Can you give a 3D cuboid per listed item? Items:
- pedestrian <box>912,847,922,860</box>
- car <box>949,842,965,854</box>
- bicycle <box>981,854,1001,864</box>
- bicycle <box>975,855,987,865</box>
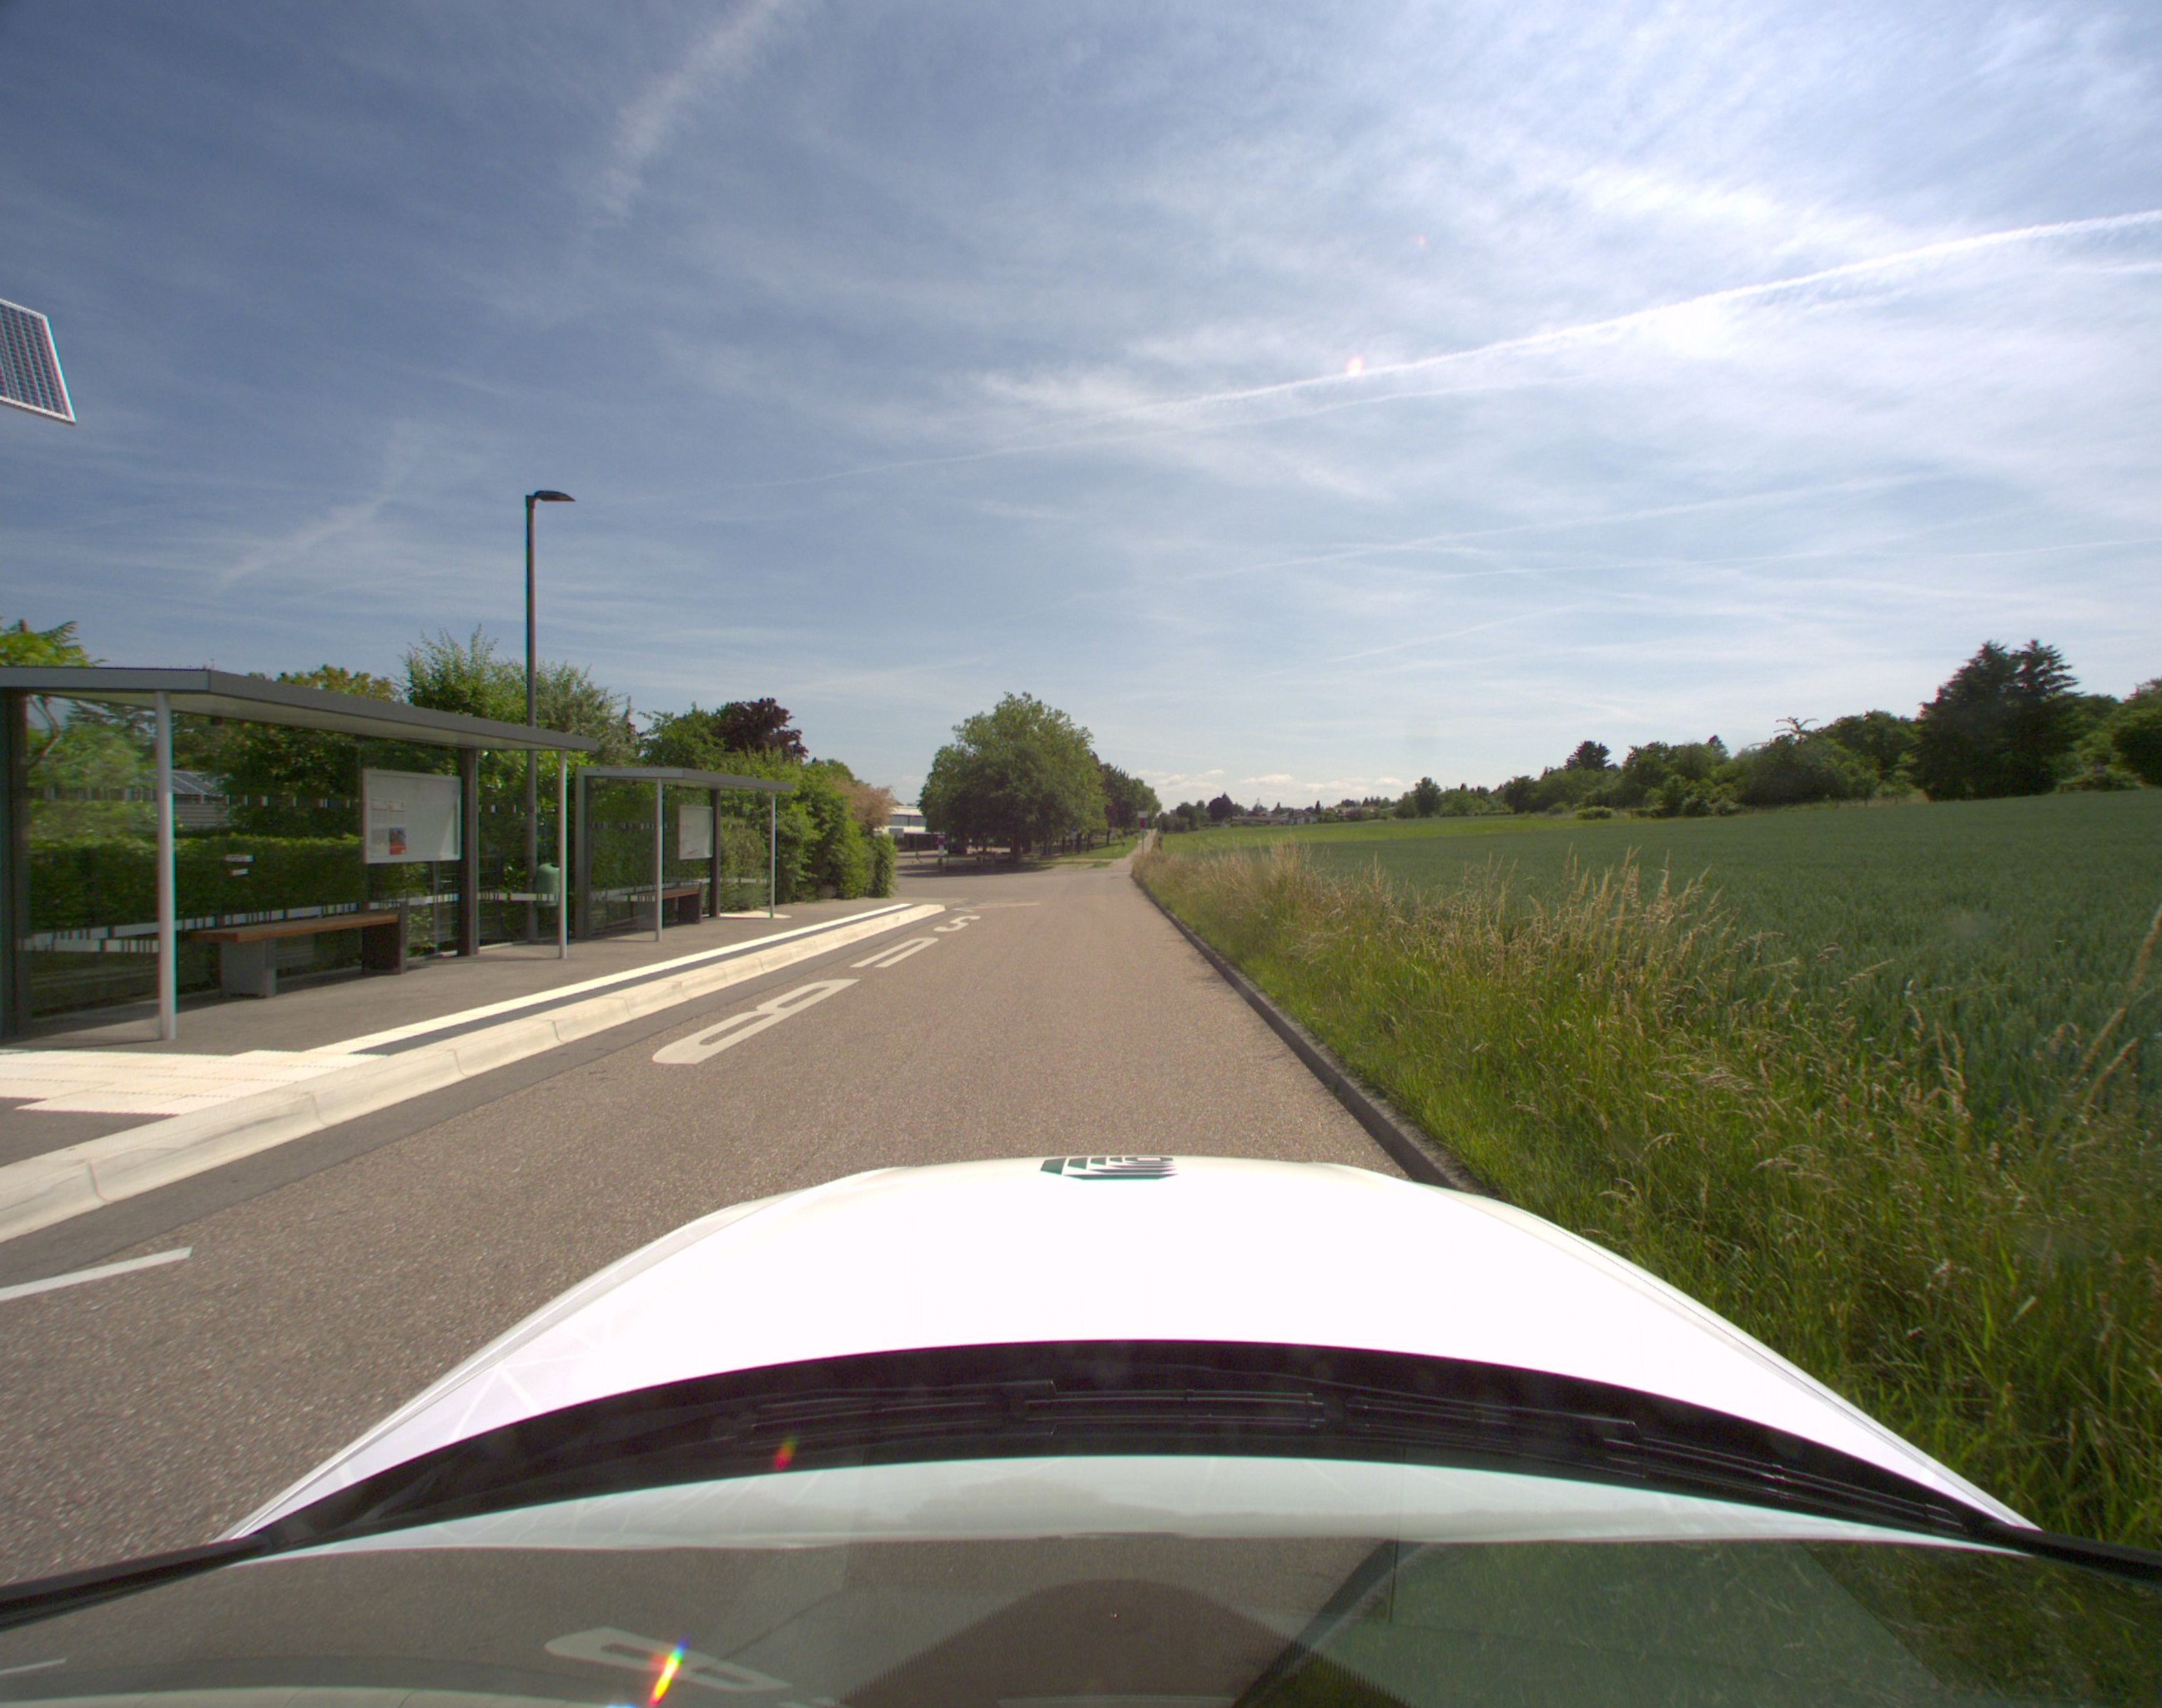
[{"bbox_3d":[-18.506,-0.030,91.957,1.066,1.423,0.916,0,1,-10],"label":"pedestrian"},{"bbox_3d":[-18.852,-0.949,124.175,1.684,1.834,3.413,-1,1,3],"label":"car"},{"bbox_3d":[-9.556,0.532,86.755,2.058,1.039,0.571,-2,1,-4],"label":"bicycle"},{"bbox_3d":[-10.454,0.628,84.913,0.590,1.039,1.899,-2,1,12],"label":"bicycle"}]
